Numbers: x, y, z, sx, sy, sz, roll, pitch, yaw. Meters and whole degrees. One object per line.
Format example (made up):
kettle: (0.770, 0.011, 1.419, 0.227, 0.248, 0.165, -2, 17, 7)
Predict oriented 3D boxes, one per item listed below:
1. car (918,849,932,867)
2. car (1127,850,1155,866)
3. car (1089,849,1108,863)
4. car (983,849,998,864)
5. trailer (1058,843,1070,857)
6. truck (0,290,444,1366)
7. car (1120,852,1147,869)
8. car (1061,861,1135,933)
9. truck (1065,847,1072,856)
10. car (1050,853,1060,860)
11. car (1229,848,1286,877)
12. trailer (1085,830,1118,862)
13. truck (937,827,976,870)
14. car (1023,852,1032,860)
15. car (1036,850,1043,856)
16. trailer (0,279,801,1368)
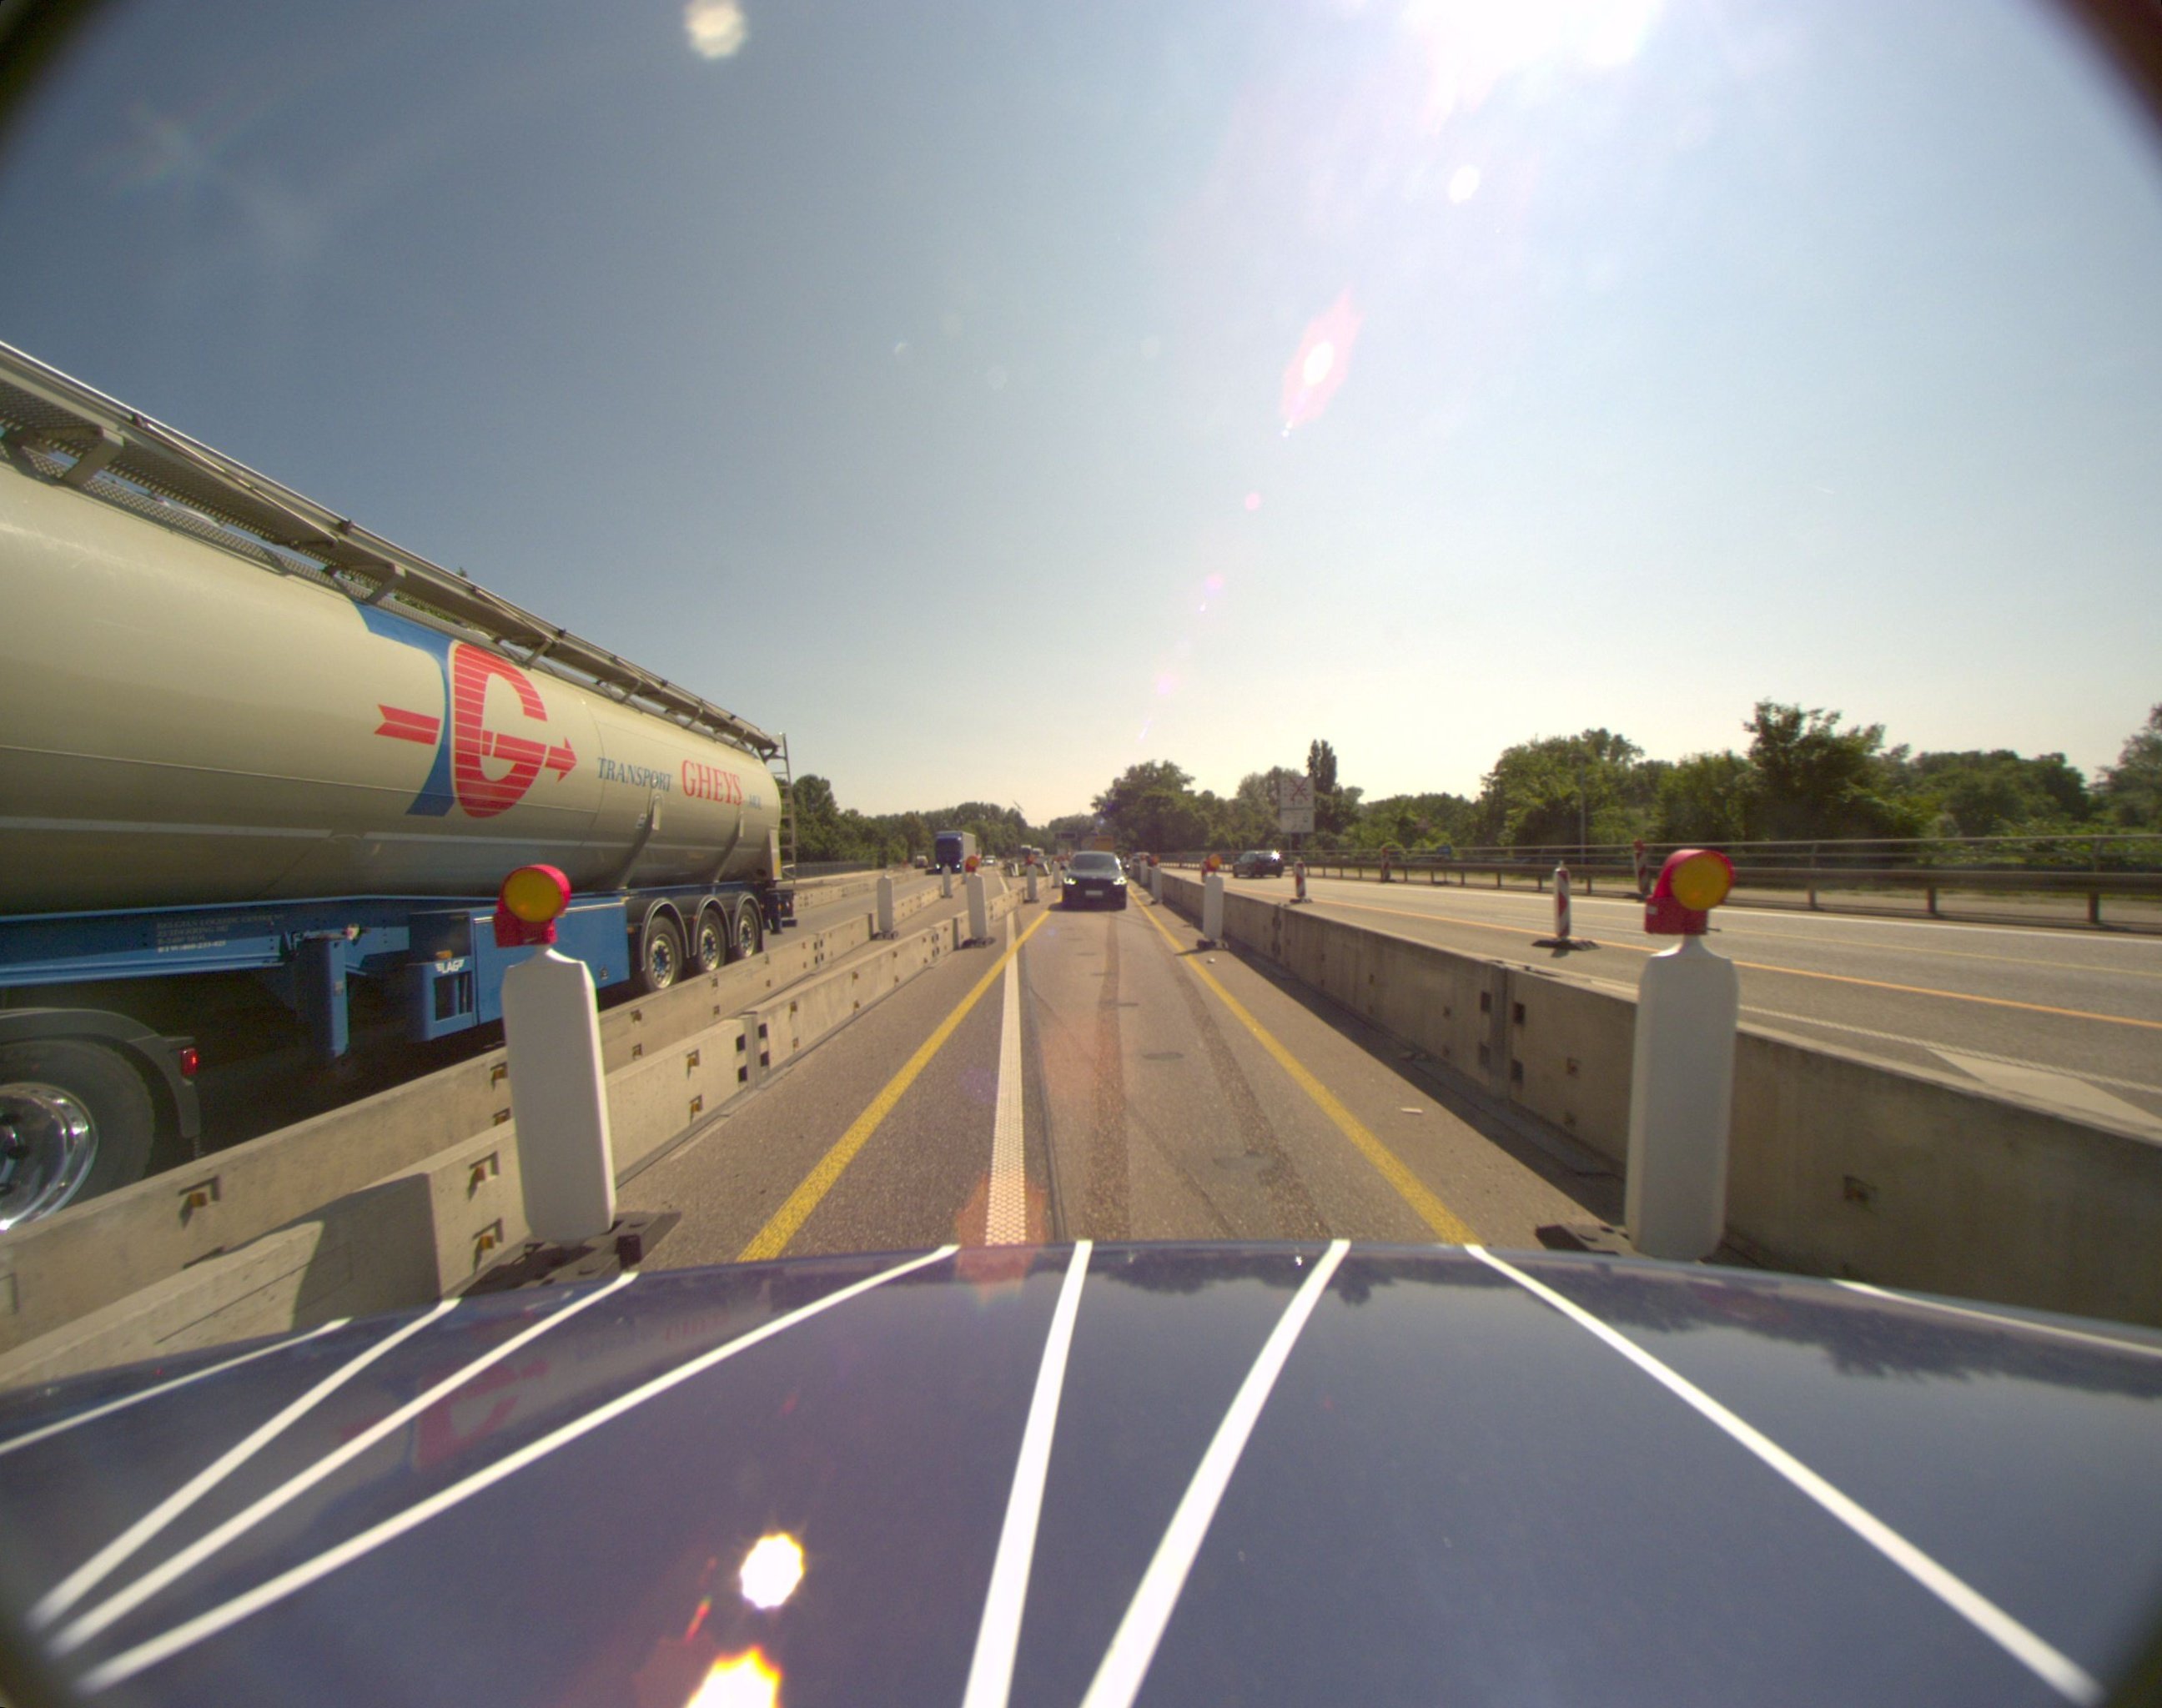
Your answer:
car: (-24.173, 0.626, 117.797, 2.111, 2.627, 5.978, -1, 0, -11)
car: (5.915, 0.404, 75.311, 1.938, 1.499, 4.466, -2, 0, -7)
car: (2.084, 0.243, 93.088, 1.796, 1.559, 3.870, -1, 0, -6)
car: (-12.834, 0.336, 107.685, 1.999, 2.002, 3.998, -1, 0, -5)
trailer: (-5.041, -1.090, 224.080, 2.812, 4.019, 13.461, -1, 0, -5)
truck: (-5.311, -0.090, 1.295, 2.702, 4.079, 7.296, -1, 0, -5)
car: (4.453, 0.493, 65.053, 1.694, 1.368, 4.271, -2, 0, -4)
car: (0.381, 1.110, 21.628, 1.789, 1.651, 4.486, -4, 1, -1)
truck: (-4.241, -0.875, 259.361, 1.868, 3.188, 6.810, -2, 0, -5)
car: (-5.938, 0.527, 172.095, 1.868, 1.622, 4.563, -2, 0, -5)
car: (9.772, 0.433, 42.483, 1.672, 1.434, 4.994, -2, 0, -4)
trailer: (2.680, -1.119, 105.955, 2.769, 4.112, 14.522, -1, 0, -6)
truck: (-12.206, -0.538, 75.071, 2.862, 3.962, 8.662, -1, 0, -3)
car: (-12.137, 0.423, 172.730, 1.747, 1.621, 4.091, -1, 0, -2)
car: (-13.426, -0.324, 244.017, 1.998, 2.002, 4.000, -1, 0, 0)
trailer: (-5.860, -0.137, 7.356, 2.702, 4.113, 12.607, -1, 0, -5)
